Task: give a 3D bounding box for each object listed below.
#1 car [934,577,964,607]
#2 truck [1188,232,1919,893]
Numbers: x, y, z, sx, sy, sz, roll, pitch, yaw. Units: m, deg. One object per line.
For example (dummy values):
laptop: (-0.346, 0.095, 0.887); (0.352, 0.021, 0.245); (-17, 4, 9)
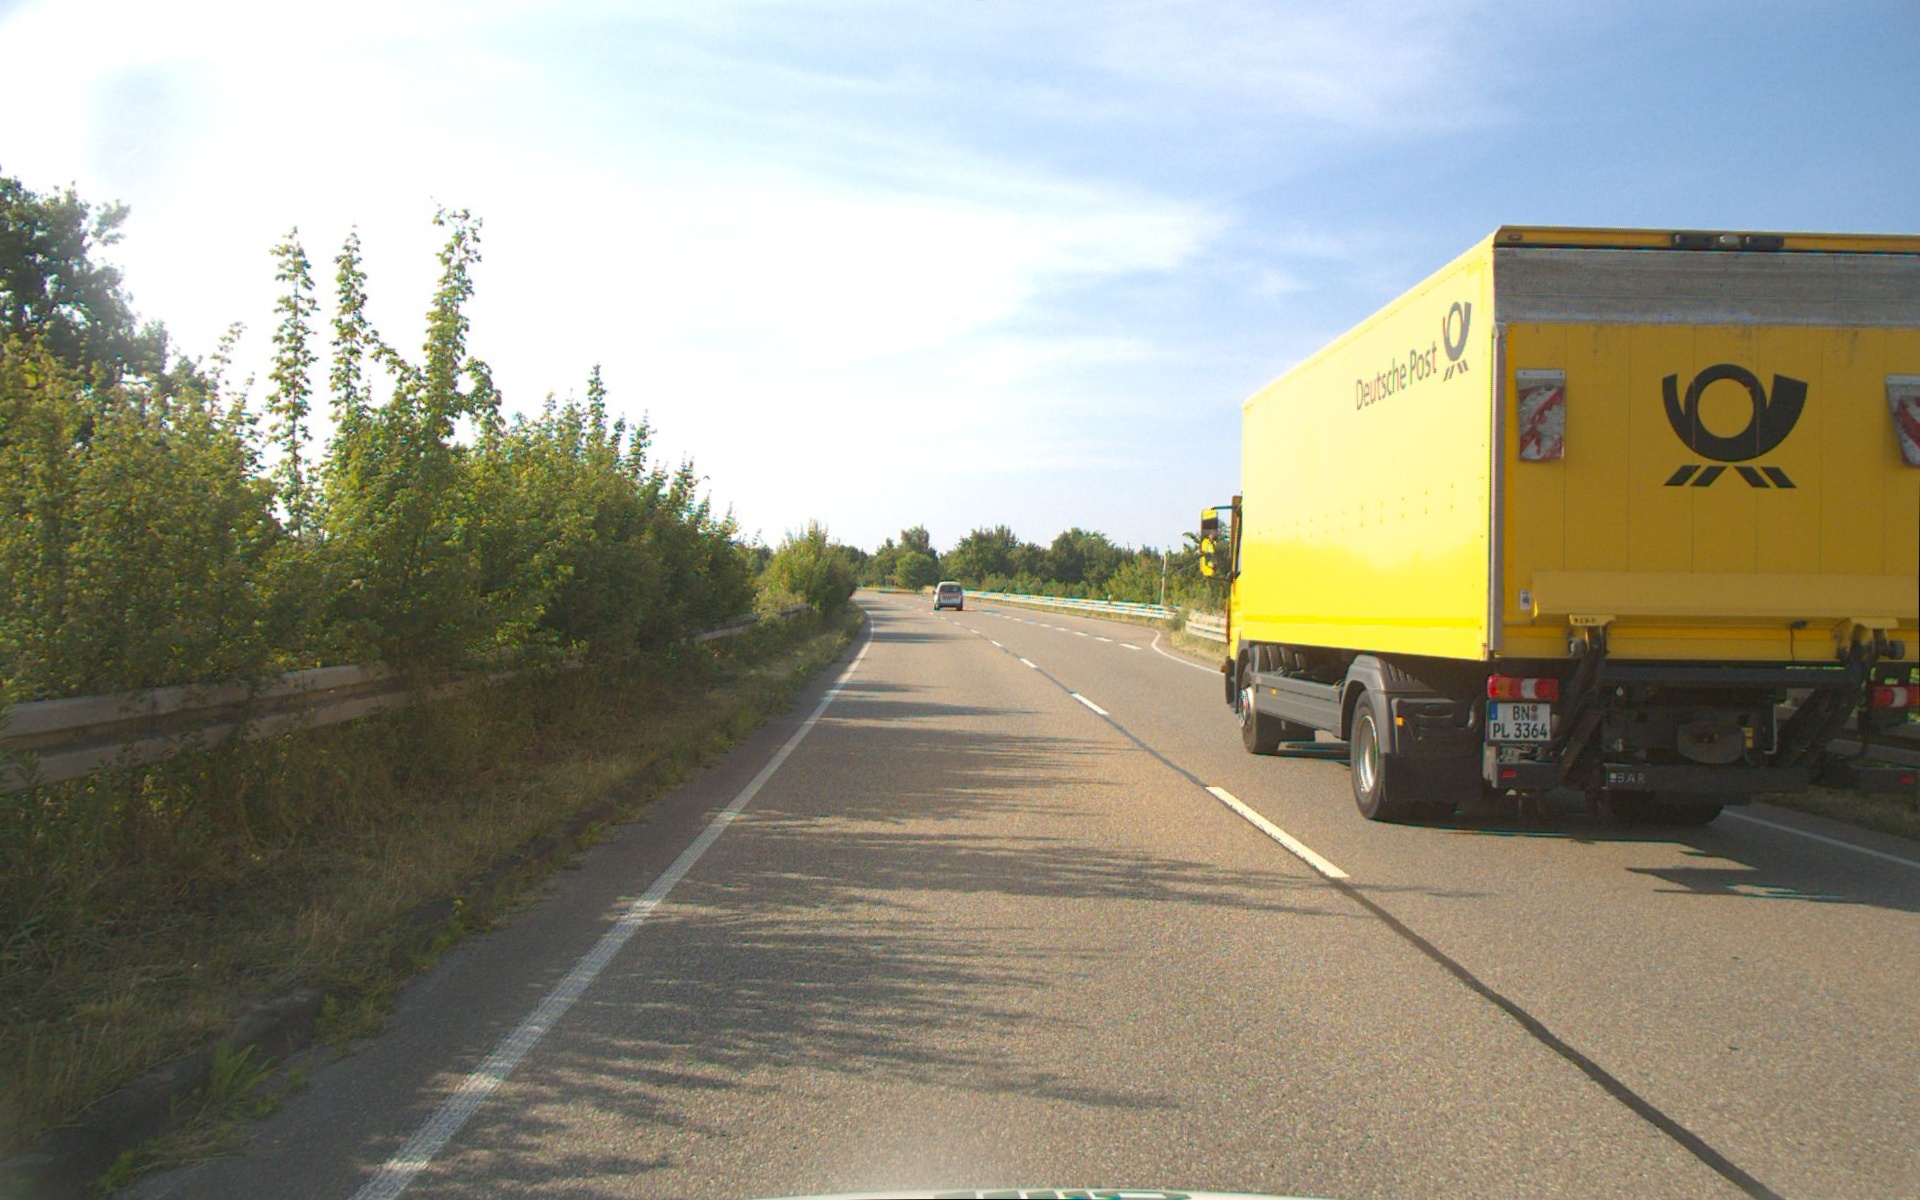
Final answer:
car: (-0.705, -0.490, 106.264); (1.730, 1.915, 3.998); (0, 0, -3)
truck: (4.032, -0.241, 13.776); (2.722, 3.374, 10.489); (1, 1, 0)
